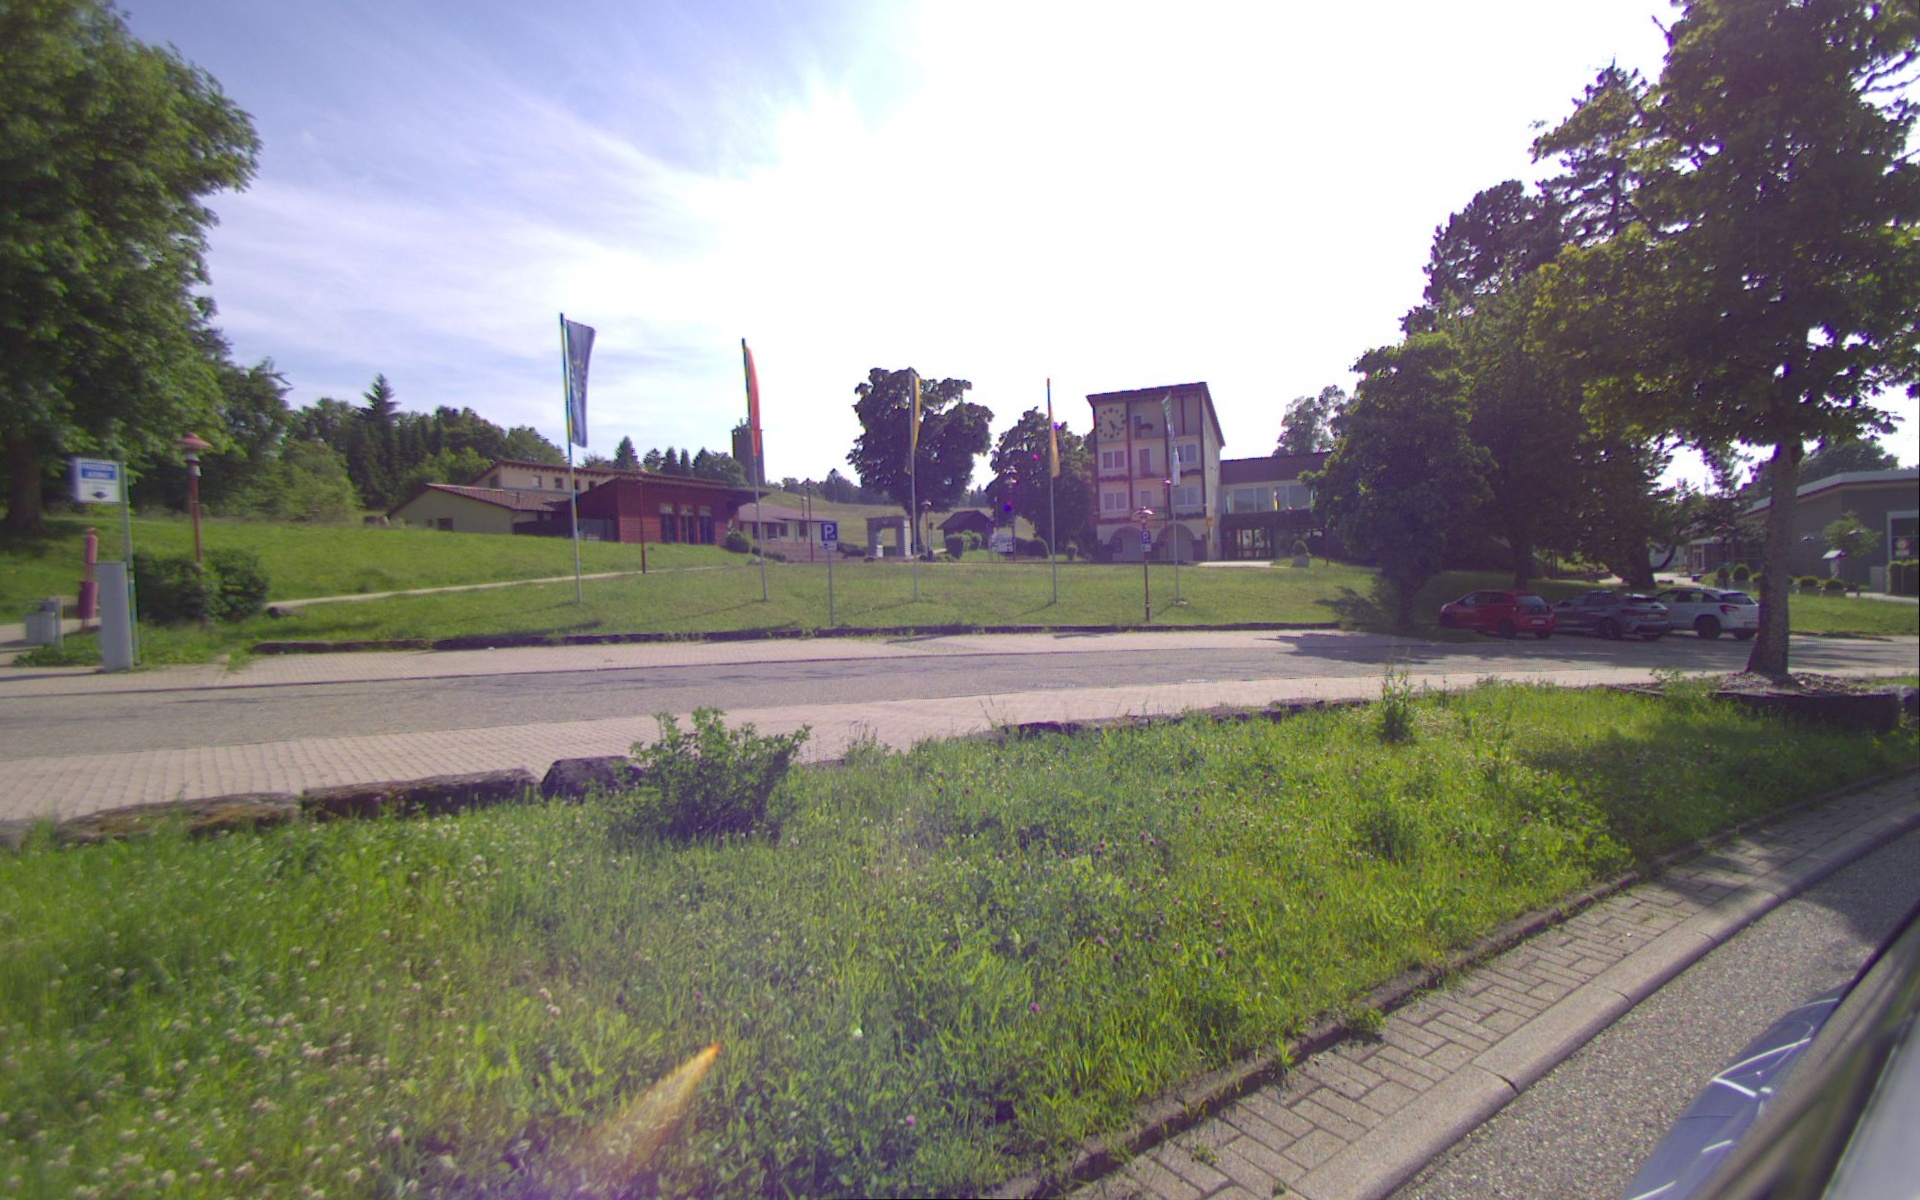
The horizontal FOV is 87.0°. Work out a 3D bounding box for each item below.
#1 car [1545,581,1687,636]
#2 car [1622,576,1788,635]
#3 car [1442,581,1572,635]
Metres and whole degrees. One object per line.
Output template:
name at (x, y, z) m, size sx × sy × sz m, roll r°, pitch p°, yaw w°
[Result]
car at (20.512, 0.222, 31.815) m, size 1.650 × 1.444 × 3.549 m, roll 1°, pitch 3°, yaw -12°
car at (24.305, 0.136, 33.210) m, size 1.958 × 1.637 × 4.010 m, roll 1°, pitch 3°, yaw -12°
car at (16.996, 0.194, 31.619) m, size 1.678 × 1.421 × 3.322 m, roll 0°, pitch 4°, yaw -16°
